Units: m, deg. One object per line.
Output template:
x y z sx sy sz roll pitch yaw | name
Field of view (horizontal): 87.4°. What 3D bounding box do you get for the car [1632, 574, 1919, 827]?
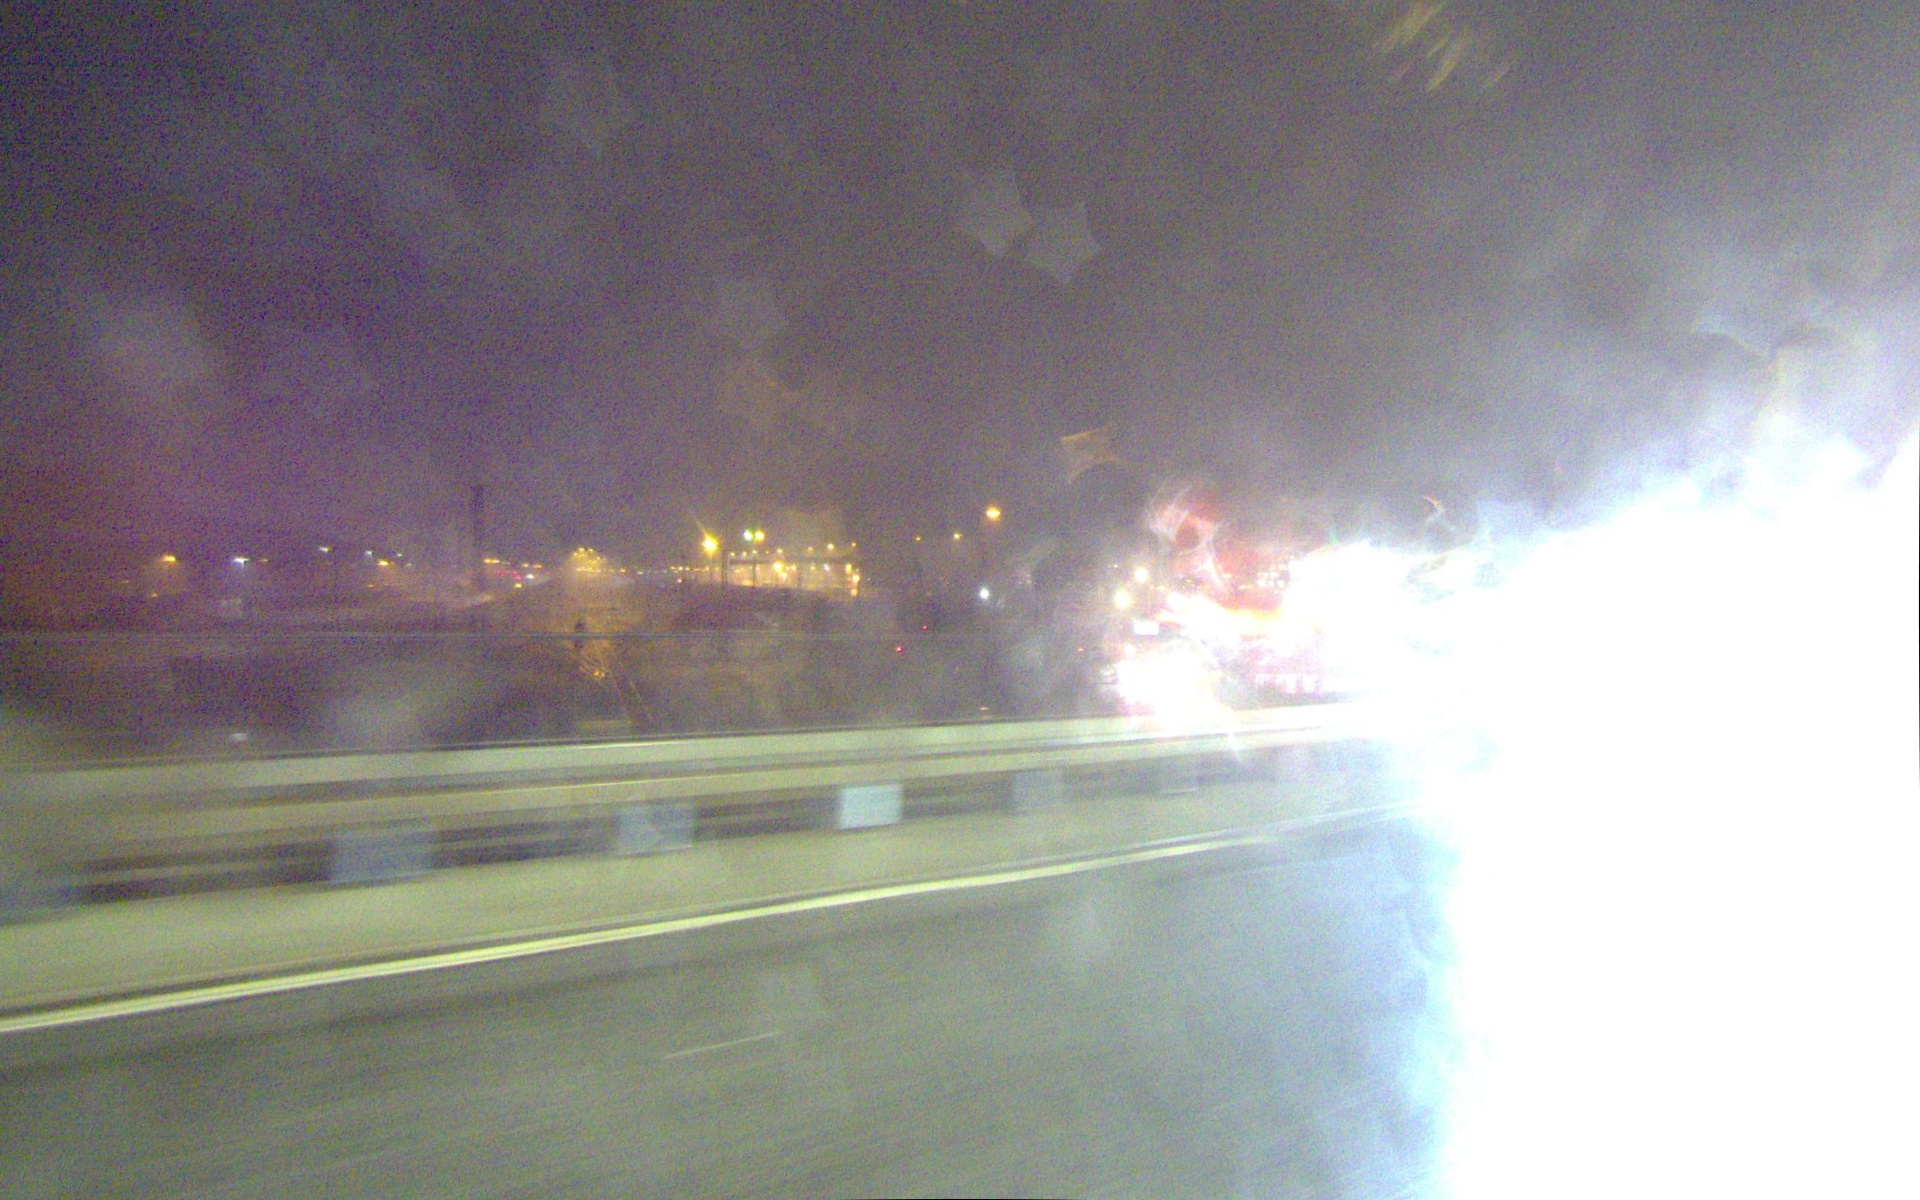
7.787 0.748 8.830 4.272 1.727 1.766 1 -2 -36 | car
